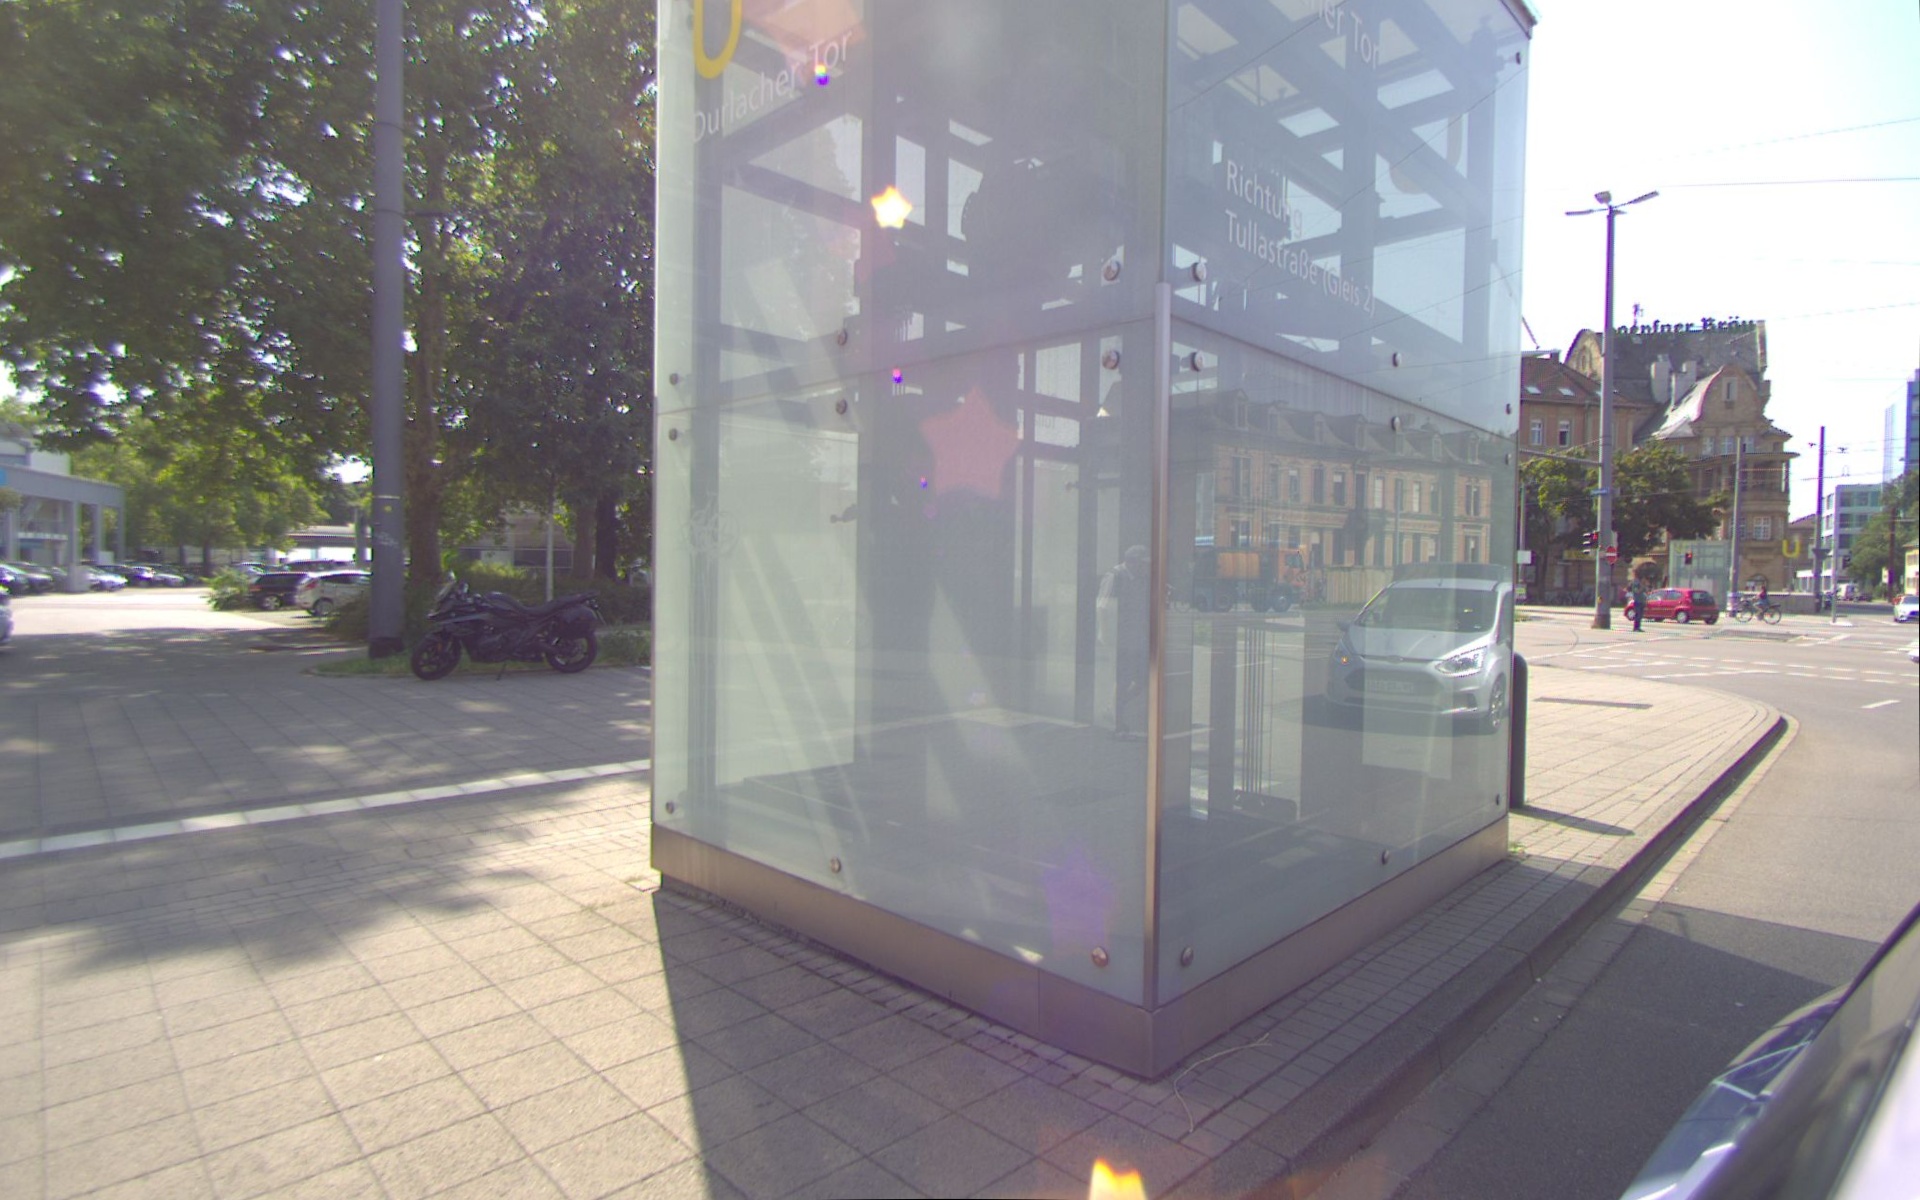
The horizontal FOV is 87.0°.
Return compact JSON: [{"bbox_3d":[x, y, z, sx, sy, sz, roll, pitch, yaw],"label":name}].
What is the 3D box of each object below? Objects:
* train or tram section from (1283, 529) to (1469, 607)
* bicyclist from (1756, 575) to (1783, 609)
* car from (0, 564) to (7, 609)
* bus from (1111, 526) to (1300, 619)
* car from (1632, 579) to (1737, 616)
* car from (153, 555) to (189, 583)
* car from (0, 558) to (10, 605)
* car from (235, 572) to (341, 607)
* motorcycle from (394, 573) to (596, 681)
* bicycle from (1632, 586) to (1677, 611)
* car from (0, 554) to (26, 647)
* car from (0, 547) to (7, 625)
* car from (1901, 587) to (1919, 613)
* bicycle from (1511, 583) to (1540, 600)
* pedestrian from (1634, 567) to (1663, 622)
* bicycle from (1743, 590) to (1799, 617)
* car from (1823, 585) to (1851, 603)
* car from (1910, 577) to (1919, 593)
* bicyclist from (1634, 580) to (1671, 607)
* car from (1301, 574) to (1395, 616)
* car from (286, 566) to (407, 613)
[{"bbox_3d":[21.114,-1.698,52.704,2.541,3.604,12.243,1,2,-11],"label":"train or tram section"},{"bbox_3d":[36.607,-0.368,45.772,0.644,1.499,0.645,1,1,-12],"label":"bicyclist"},{"bbox_3d":[-32.603,-0.433,31.639,1.785,1.414,4.009,2,3,44],"label":"car"},{"bbox_3d":[9.263,-1.131,40.389,2.678,3.102,12.106,1,2,-10],"label":"bus"},{"bbox_3d":[30.086,-0.129,42.144,1.486,1.426,3.366,1,2,-13],"label":"car"},{"bbox_3d":[-58.053,-2.293,74.495,1.571,2.038,3.693,0,2,-30],"label":"car"},{"bbox_3d":[-36.328,-0.669,35.721,1.785,1.686,4.009,2,2,44],"label":"car"},{"bbox_3d":[-26.187,-0.427,39.467,3.236,1.298,1.612,-1,2,-43],"label":"car"},{"bbox_3d":[-5.443,0.276,11.873,2.070,1.151,0.913,0,2,-31],"label":"motorcycle"},{"bbox_3d":[32.651,-0.084,47.600,0.699,1.125,1.858,1,2,-5],"label":"bicycle"},{"bbox_3d":[-17.440,0.004,15.754,1.900,1.488,4.180,2,3,44],"label":"car"},{"bbox_3d":[-22.606,-0.303,21.026,1.785,1.686,4.009,2,2,44],"label":"car"},{"bbox_3d":[49.826,0.027,52.073,1.579,1.304,3.678,3,1,36],"label":"car"},{"bbox_3d":[34.684,-0.517,62.098,1.751,0.969,0.463,0,1,-17],"label":"bicycle"},{"bbox_3d":[21.617,-0.162,31.782,0.714,1.709,0.795,-1,-2,34],"label":"pedestrian"},{"bbox_3d":[36.638,0.148,45.740,0.432,1.125,2.133,1,2,-14],"label":"bicycle"},{"bbox_3d":[76.794,-0.530,88.648,1.365,1.415,3.218,2,0,32],"label":"car"},{"bbox_3d":[119.386,-1.850,125.404,1.990,1.927,3.945,2,0,38],"label":"car"},{"bbox_3d":[32.629,-0.302,47.681,1.080,1.249,0.865,1,1,-5],"label":"bicyclist"},{"bbox_3d":[14.651,-0.243,38.438,1.596,1.490,3.779,1,1,-10],"label":"car"},{"bbox_3d":[-20.636,-0.365,34.096,3.236,1.479,1.612,-1,2,-43],"label":"car"}]
